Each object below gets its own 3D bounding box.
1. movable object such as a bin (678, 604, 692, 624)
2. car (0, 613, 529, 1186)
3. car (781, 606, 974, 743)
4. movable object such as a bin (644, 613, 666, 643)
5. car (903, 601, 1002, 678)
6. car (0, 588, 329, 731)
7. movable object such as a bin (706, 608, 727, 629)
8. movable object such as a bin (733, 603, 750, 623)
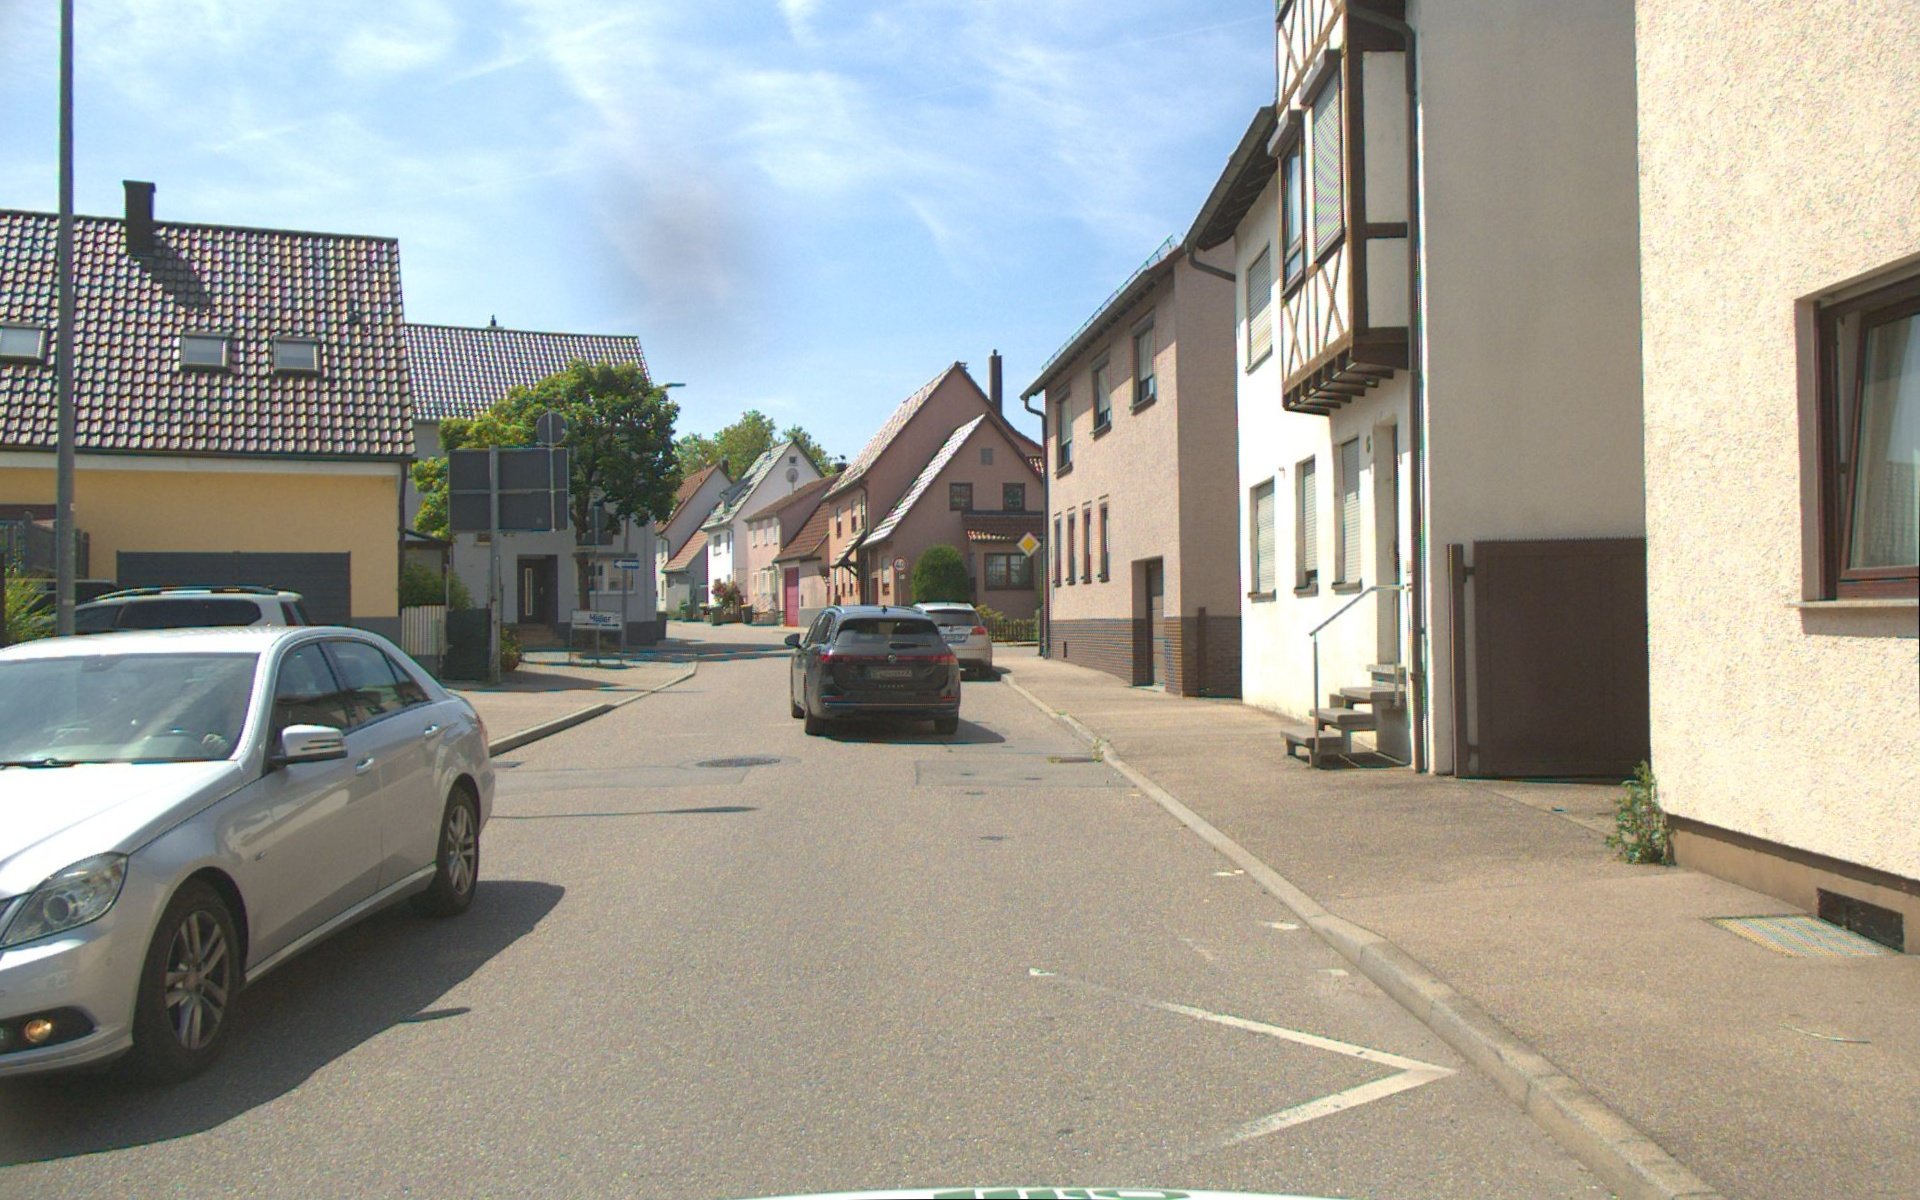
[{"bbox_3d":[-16.951,0.862,101.957,0.669,1.175,0.813,0,-1,-25],"label":"movable object such as a bin"},{"bbox_3d":[-3.355,0.870,6.732,1.915,1.512,4.459,-2,0,1],"label":"car"},{"bbox_3d":[-1.128,0.801,20.035,1.808,1.445,4.672,0,0,-10],"label":"car"},{"bbox_3d":[-11.103,1.021,60.252,0.741,1.079,0.677,0,0,-15],"label":"movable object such as a bin"},{"bbox_3d":[-0.212,0.772,34.016,1.750,1.467,4.333,0,0,-4],"label":"car"},{"bbox_3d":[-10.239,0.702,20.457,4.328,1.651,1.992,0,-1,-15],"label":"car"},{"bbox_3d":[-13.708,1.034,93.179,0.865,1.093,0.866,-5,2,-25],"label":"movable object such as a bin"},{"bbox_3d":[-12.229,0.743,92.665,0.670,1.068,0.828,-5,2,-25],"label":"movable object such as a bin"}]
